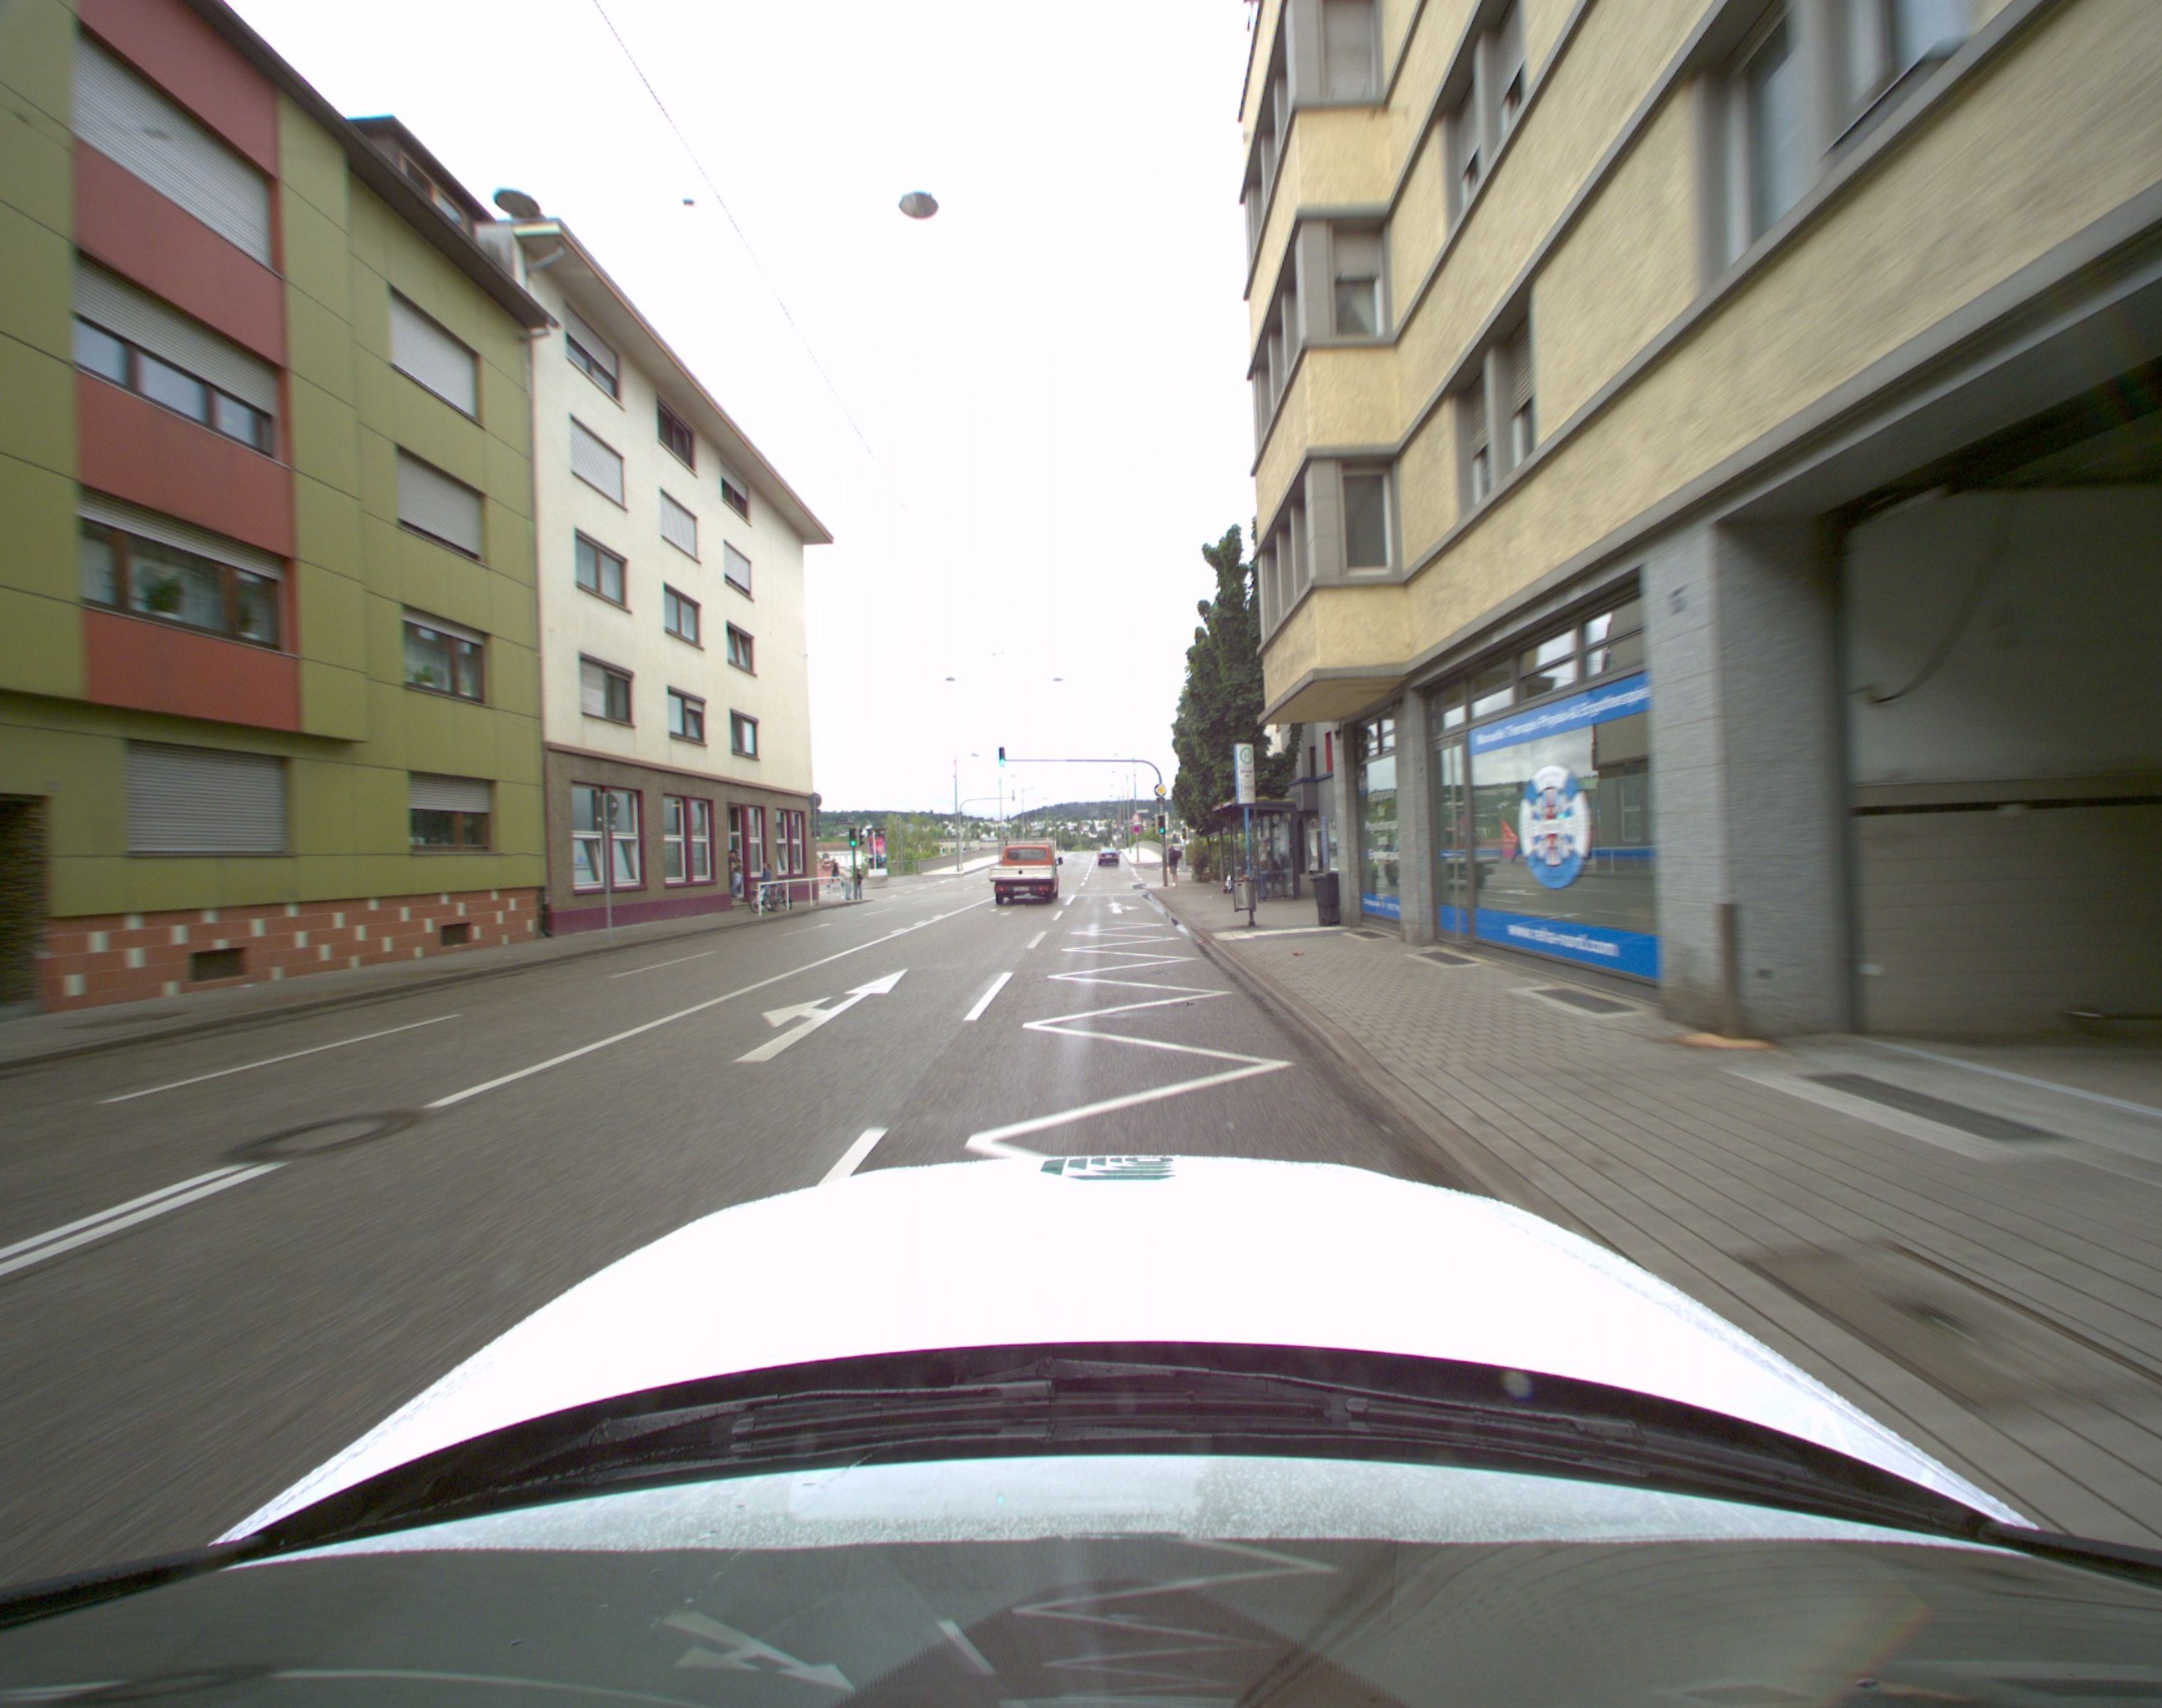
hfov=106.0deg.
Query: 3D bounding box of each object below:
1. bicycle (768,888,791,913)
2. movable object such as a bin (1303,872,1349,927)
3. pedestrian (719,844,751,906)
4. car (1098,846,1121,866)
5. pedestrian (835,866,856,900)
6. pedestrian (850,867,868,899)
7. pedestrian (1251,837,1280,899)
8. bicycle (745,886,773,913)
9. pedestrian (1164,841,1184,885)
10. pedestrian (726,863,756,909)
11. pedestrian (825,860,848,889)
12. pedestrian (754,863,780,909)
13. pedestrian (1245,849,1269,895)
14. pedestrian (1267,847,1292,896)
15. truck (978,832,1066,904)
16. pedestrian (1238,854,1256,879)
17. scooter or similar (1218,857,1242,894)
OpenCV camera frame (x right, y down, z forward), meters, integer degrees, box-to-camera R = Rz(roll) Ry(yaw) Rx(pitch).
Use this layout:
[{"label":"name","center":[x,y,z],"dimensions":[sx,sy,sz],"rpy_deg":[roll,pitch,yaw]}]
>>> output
[{"label":"bicycle","center":[-10.083,1.539,27.250],"dimensions":[0.263,0.783,1.111],"rpy_deg":[-3,-1,2]},{"label":"movable object such as a bin","center":[4.416,0.805,14.714],"dimensions":[0.598,0.926,0.705],"rpy_deg":[-3,-1,1]},{"label":"pedestrian","center":[-12.062,0.728,28.399],"dimensions":[0.709,2.099,0.730],"rpy_deg":[-3,-1,-2]},{"label":"car","center":[2.260,0.166,64.487],"dimensions":[1.747,1.479,4.002],"rpy_deg":[-3,-1,2]},{"label":"pedestrian","center":[-10.324,1.255,35.705],"dimensions":[0.640,1.458,0.661],"rpy_deg":[-3,-1,0]},{"label":"pedestrian","center":[-9.876,1.296,36.288],"dimensions":[0.542,1.388,0.650],"rpy_deg":[-3,-1,3]},{"label":"pedestrian","center":[5.125,0.386,22.642],"dimensions":[0.616,1.699,0.657],"rpy_deg":[-3,-1,5]},{"label":"bicycle","center":[-10.515,1.477,26.638],"dimensions":[0.263,0.783,1.422],"rpy_deg":[-3,-1,2]},{"label":"pedestrian","center":[3.973,0.390,34.900],"dimensions":[0.730,1.841,0.631],"rpy_deg":[-3,-1,0]},{"label":"pedestrian","center":[-12.054,1.117,28.876],"dimensions":[0.771,1.577,0.589],"rpy_deg":[-3,-1,1]},{"label":"pedestrian","center":[-15.293,1.277,50.882],"dimensions":[1.076,1.757,1.052],"rpy_deg":[-2,-1,-33]},{"label":"pedestrian","center":[-11.036,1.108,28.643],"dimensions":[0.573,1.553,0.739],"rpy_deg":[-3,-1,-1]},{"label":"pedestrian","center":[5.282,0.537,24.425],"dimensions":[0.532,1.350,0.596],"rpy_deg":[-3,-1,0]},{"label":"pedestrian","center":[5.805,0.515,23.828],"dimensions":[0.562,1.396,0.514],"rpy_deg":[-3,-1,-1]},{"label":"truck","center":[-1.884,0.447,27.961],"dimensions":[2.391,2.129,5.316],"rpy_deg":[-3,-1,2]},{"label":"pedestrian","center":[7.981,0.590,39.160],"dimensions":[0.662,1.189,0.557],"rpy_deg":[-3,-1,0]},{"label":"scooter or similar","center":[5.011,0.706,27.474],"dimensions":[0.509,1.172,1.550],"rpy_deg":[-3,-1,2]}]
